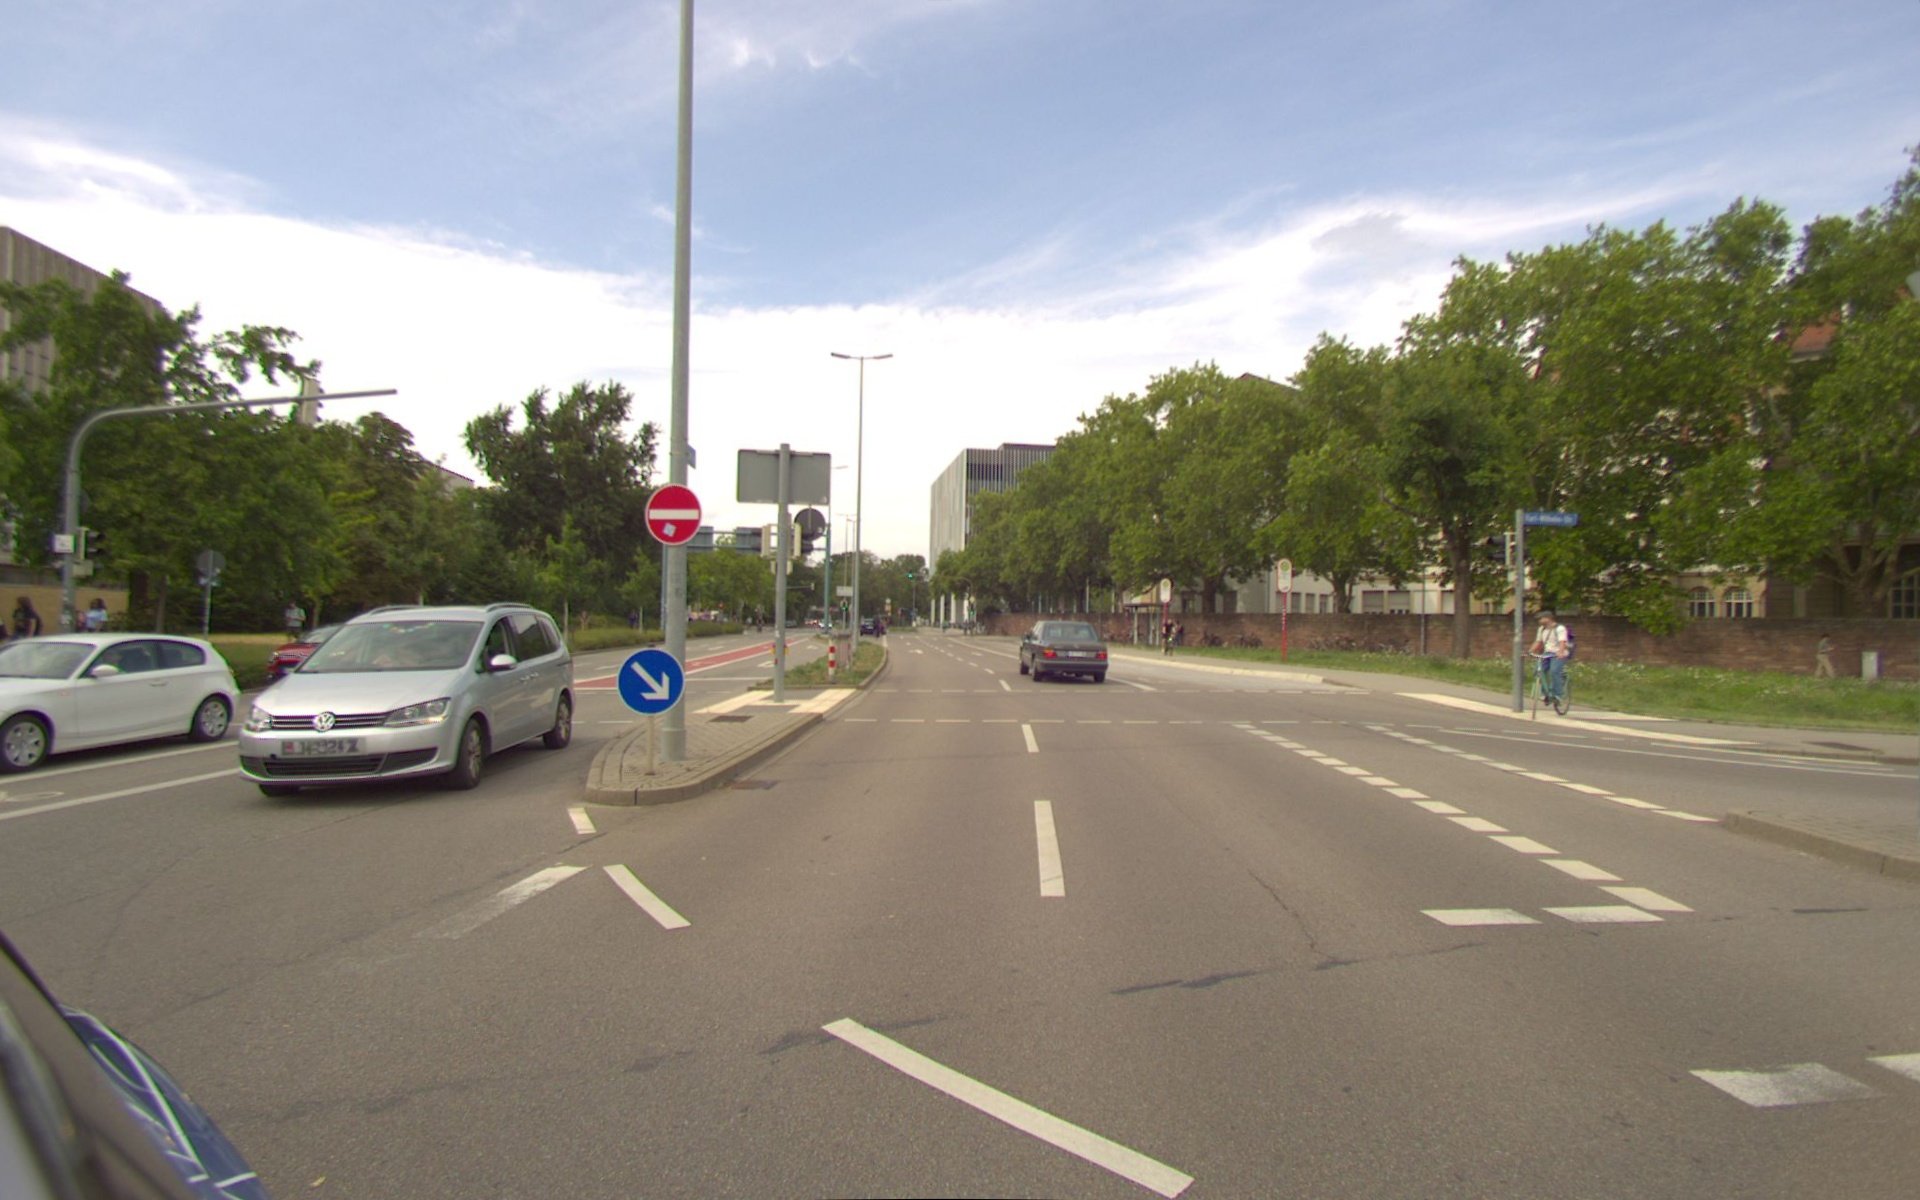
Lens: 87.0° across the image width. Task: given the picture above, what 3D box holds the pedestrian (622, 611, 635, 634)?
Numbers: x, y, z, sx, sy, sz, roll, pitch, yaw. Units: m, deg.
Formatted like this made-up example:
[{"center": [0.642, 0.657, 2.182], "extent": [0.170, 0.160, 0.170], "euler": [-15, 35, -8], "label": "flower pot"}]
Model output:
[{"center": [-24.601, 1.683, 75.116], "extent": [0.704, 1.724, 0.696], "euler": [-1, -1, -5], "label": "pedestrian"}]

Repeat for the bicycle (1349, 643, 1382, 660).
[{"center": [21.321, 2.696, 53.229], "extent": [0.352, 0.870, 1.897], "euler": [4, -3, -23], "label": "bicycle"}]

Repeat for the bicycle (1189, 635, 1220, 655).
[{"center": [15.571, 2.854, 64.530], "extent": [0.745, 1.198, 2.105], "euler": [4, -3, -26], "label": "bicycle"}]

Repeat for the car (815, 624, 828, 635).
[{"center": [-20.843, 4.422, 152.307], "extent": [1.763, 1.500, 4.134], "euler": [3, -1, -5], "label": "car"}]

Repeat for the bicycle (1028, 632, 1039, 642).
[{"center": [6.561, 3.289, 89.786], "extent": [0.426, 0.894, 1.580], "euler": [-2, -1, -16], "label": "bicycle"}]

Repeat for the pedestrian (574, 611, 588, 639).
[{"center": [-24.161, 1.581, 64.522], "extent": [0.704, 1.724, 0.696], "euler": [-1, -1, -5], "label": "pedestrian"}]

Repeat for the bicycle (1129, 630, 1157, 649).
[{"center": [12.417, 2.673, 68.674], "extent": [2.067, 1.198, 0.759], "euler": [5, -4, -44], "label": "bicycle"}]

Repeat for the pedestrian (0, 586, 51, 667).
[{"center": [-20.487, 0.568, 22.004], "extent": [0.825, 1.724, 0.802], "euler": [-1, -1, -19], "label": "pedestrian"}]

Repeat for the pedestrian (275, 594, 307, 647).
[{"center": [-21.863, 0.671, 33.086], "extent": [0.536, 1.709, 0.696], "euler": [3, -1, -8], "label": "pedestrian"}]

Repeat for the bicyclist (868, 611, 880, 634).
[{"center": [-6.501, 1.709, 76.922], "extent": [0.767, 1.724, 1.086], "euler": [3, -3, -2], "label": "bicyclist"}]

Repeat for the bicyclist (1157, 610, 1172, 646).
[{"center": [9.012, 1.219, 44.632], "extent": [0.573, 1.567, 0.796], "euler": [1, 0, 9], "label": "bicyclist"}]

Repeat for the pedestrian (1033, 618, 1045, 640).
[{"center": [5.918, 2.151, 75.790], "extent": [0.742, 1.634, 0.667], "euler": [-1, -1, -10], "label": "pedestrian"}]

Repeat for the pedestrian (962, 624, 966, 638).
[{"center": [0.431, 3.267, 106.909], "extent": [0.396, 1.468, 0.474], "euler": [-1, -1, -10], "label": "pedestrian"}]

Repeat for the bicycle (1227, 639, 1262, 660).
[{"center": [17.134, 2.979, 61.016], "extent": [0.745, 1.198, 2.105], "euler": [4, -3, -26], "label": "bicycle"}]

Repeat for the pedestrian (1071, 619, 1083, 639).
[{"center": [9.283, 2.297, 80.345], "extent": [0.666, 1.634, 0.744], "euler": [-2, -1, 45], "label": "pedestrian"}]

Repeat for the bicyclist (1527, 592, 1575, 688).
[{"center": [9.981, 0.654, 17.078], "extent": [0.579, 1.567, 0.787], "euler": [1, 1, 39], "label": "bicyclist"}]

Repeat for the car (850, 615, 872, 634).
[{"center": [-8.618, 2.104, 88.489], "extent": [1.763, 1.500, 4.134], "euler": [3, -1, -5], "label": "car"}]

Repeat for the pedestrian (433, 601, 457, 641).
[{"center": [-22.609, 0.904, 44.447], "extent": [0.704, 1.724, 0.696], "euler": [-1, -1, -5], "label": "pedestrian"}]

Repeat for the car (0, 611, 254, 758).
[{"center": [-10.442, 0.878, 11.626], "extent": [1.736, 1.469, 4.223], "euler": [-1, -1, 0], "label": "car"}]

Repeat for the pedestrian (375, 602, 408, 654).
[{"center": [-19.251, 0.940, 34.289], "extent": [0.724, 1.724, 0.693], "euler": [-1, -1, -1], "label": "pedestrian"}]

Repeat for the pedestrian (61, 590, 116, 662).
[{"center": [-21.265, 0.627, 24.715], "extent": [0.703, 1.724, 0.801], "euler": [-1, -1, -8], "label": "pedestrian"}]

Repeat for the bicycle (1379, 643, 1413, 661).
[{"center": [22.408, 2.661, 52.033], "extent": [0.352, 0.870, 1.714], "euler": [4, -3, -30], "label": "bicycle"}]

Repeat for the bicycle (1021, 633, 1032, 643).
[{"center": [6.039, 3.418, 91.610], "extent": [0.426, 0.894, 1.580], "euler": [-2, -1, -16], "label": "bicycle"}]

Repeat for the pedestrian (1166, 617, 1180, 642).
[{"center": [14.227, 1.964, 67.563], "extent": [0.558, 1.634, 0.757], "euler": [0, -1, -27], "label": "pedestrian"}]

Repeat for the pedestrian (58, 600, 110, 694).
[{"center": [-16.405, 0.862, 18.953], "extent": [0.474, 1.724, 0.588], "euler": [-1, -1, 1], "label": "pedestrian"}]

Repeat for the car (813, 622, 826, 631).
[{"center": [-26.861, 5.093, 193.511], "extent": [1.971, 1.586, 4.001], "euler": [-1, -1, -1], "label": "car"}]

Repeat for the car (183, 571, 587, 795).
[{"center": [-5.397, 0.686, 10.312], "extent": [1.798, 1.747, 4.532], "euler": [-1, -1, -4], "label": "car"}]

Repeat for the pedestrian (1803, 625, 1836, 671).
[{"center": [31.177, 1.732, 36.724], "extent": [0.779, 1.667, 0.571], "euler": [-1, -1, 31], "label": "pedestrian"}]

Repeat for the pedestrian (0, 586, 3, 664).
[{"center": [-21.297, 0.547, 21.726], "extent": [0.825, 1.724, 0.802], "euler": [-1, -1, -19], "label": "pedestrian"}]

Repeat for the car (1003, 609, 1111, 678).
[{"center": [2.242, 0.990, 24.572], "extent": [1.674, 1.491, 4.422], "euler": [-1, -1, -7], "label": "car"}]

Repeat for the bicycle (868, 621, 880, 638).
[{"center": [-6.507, 2.271, 76.888], "extent": [0.747, 1.198, 2.099], "euler": [3, -3, -2], "label": "bicycle"}]

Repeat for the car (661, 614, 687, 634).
[{"center": [-29.859, 2.502, 105.688], "extent": [1.969, 2.029, 4.006], "euler": [-1, -1, -7], "label": "car"}]

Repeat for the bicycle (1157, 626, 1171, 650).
[{"center": [9.013, 1.677, 44.658], "extent": [0.500, 0.943, 1.966], "euler": [1, 1, 9], "label": "bicycle"}]

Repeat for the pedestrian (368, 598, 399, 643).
[{"center": [-22.572, 0.800, 39.629], "extent": [0.829, 1.724, 0.696], "euler": [-1, -1, -8], "label": "pedestrian"}]

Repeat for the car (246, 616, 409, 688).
[{"center": [-13.805, 1.081, 22.315], "extent": [1.646, 1.426, 3.460], "euler": [-1, -1, -4], "label": "car"}]

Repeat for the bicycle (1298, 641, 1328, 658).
[{"center": [19.722, 2.770, 56.607], "extent": [0.352, 0.870, 1.828], "euler": [4, -3, -27], "label": "bicycle"}]

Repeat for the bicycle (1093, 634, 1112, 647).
[{"center": [10.756, 3.051, 76.296], "extent": [0.650, 0.894, 1.581], "euler": [-2, -1, -24], "label": "bicycle"}]

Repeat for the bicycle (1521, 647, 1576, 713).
[{"center": [9.902, 1.316, 17.006], "extent": [0.505, 0.943, 1.946], "euler": [1, 1, 39], "label": "bicycle"}]
